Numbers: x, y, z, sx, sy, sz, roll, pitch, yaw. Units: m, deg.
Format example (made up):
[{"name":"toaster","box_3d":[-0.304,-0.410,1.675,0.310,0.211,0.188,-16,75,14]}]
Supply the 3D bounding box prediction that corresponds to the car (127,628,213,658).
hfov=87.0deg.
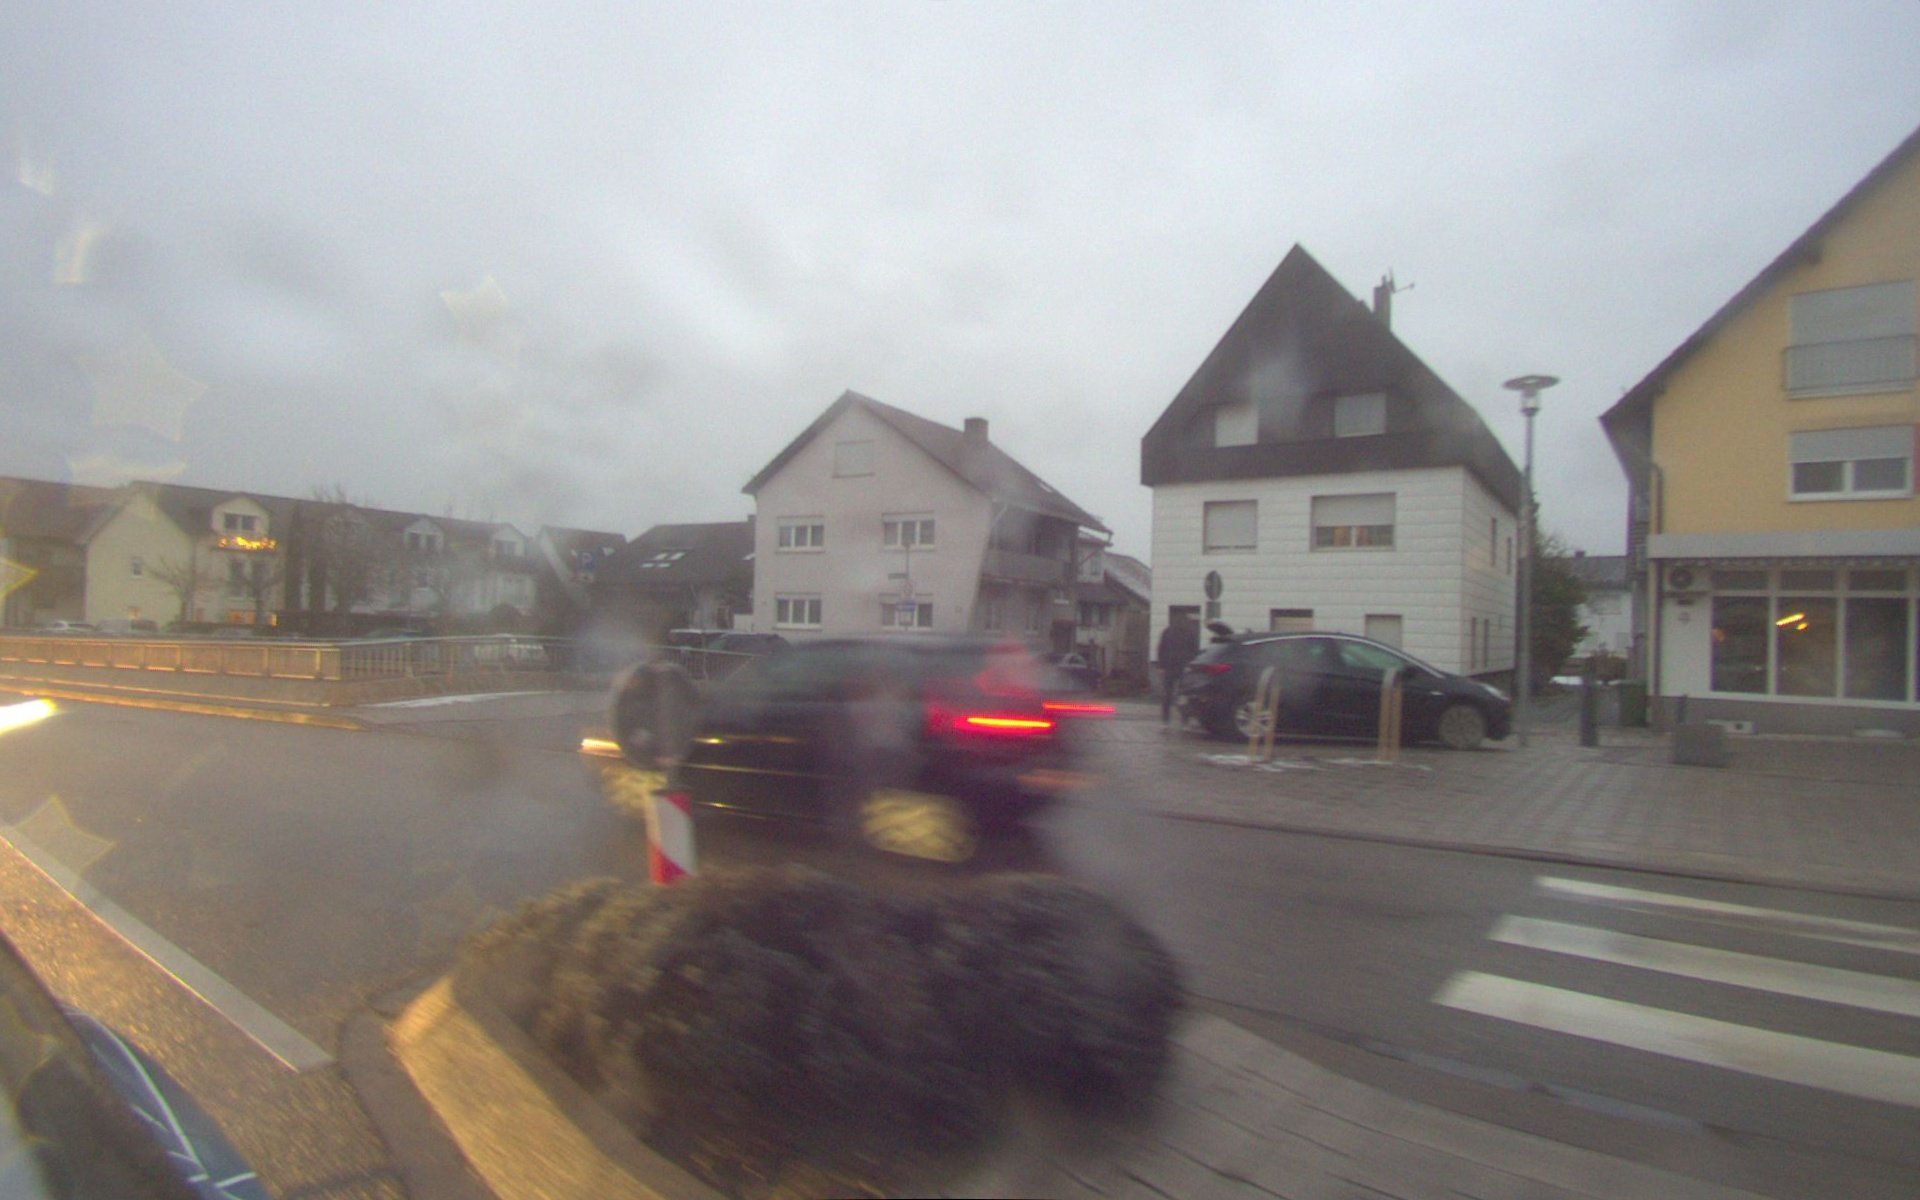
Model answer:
[{"name":"car","box_3d":[-41.290,2.257,52.888,4.233,1.480,1.784,0,-3,26]}]

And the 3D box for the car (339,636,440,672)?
[{"name":"car","box_3d":[-25.357,2.372,44.957,4.233,1.480,1.784,0,-3,26]}]

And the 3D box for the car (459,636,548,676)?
[{"name":"car","box_3d":[-18.473,2.253,40.918,3.488,1.520,1.464,0,-3,29]}]

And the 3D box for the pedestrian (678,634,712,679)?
[{"name":"pedestrian","box_3d":[-7.479,1.592,28.584,0.601,1.259,0.685,-1,-3,34]}]

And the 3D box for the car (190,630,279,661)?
[{"name":"car","box_3d":[-36.299,2.263,50.632,4.233,1.480,1.784,0,-3,26]}]

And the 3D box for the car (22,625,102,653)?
[{"name":"car","box_3d":[-50.898,2.211,57.371,3.989,1.480,1.664,0,-5,21]}]

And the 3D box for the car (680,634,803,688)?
[{"name":"car","box_3d":[-7.412,2.013,34.204,3.943,1.673,1.687,0,-2,30]}]

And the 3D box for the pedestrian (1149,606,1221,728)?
[{"name":"pedestrian","box_3d":[3.304,0.974,14.836,0.839,1.725,0.716,-2,-5,33]}]

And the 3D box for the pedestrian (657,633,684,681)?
[{"name":"pedestrian","box_3d":[-7.959,1.553,27.827,0.594,1.312,0.511,0,-2,1]}]

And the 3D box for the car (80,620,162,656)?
[{"name":"car","box_3d":[-45.634,2.051,55.047,4.233,1.841,1.785,0,-3,25]}]

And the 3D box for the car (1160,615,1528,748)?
[{"name":"car","box_3d":[4.918,1.031,13.431,4.122,1.543,1.914,1,-2,0]}]

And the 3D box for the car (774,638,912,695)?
[{"name":"car","box_3d":[-3.678,2.031,31.624,4.081,1.581,1.760,0,-2,32]}]

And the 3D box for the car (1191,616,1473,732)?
[{"name":"car","box_3d":[5.823,1.183,16.271,3.847,1.683,1.838,1,-4,4]}]

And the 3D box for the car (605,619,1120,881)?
[{"name":"car","box_3d":[-0.729,0.857,7.066,3.353,1.422,1.493,0,-2,30]}]

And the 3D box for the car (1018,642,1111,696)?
[{"name":"car","box_3d":[3.764,2.471,35.872,1.712,1.695,3.958,2,-4,31]}]
